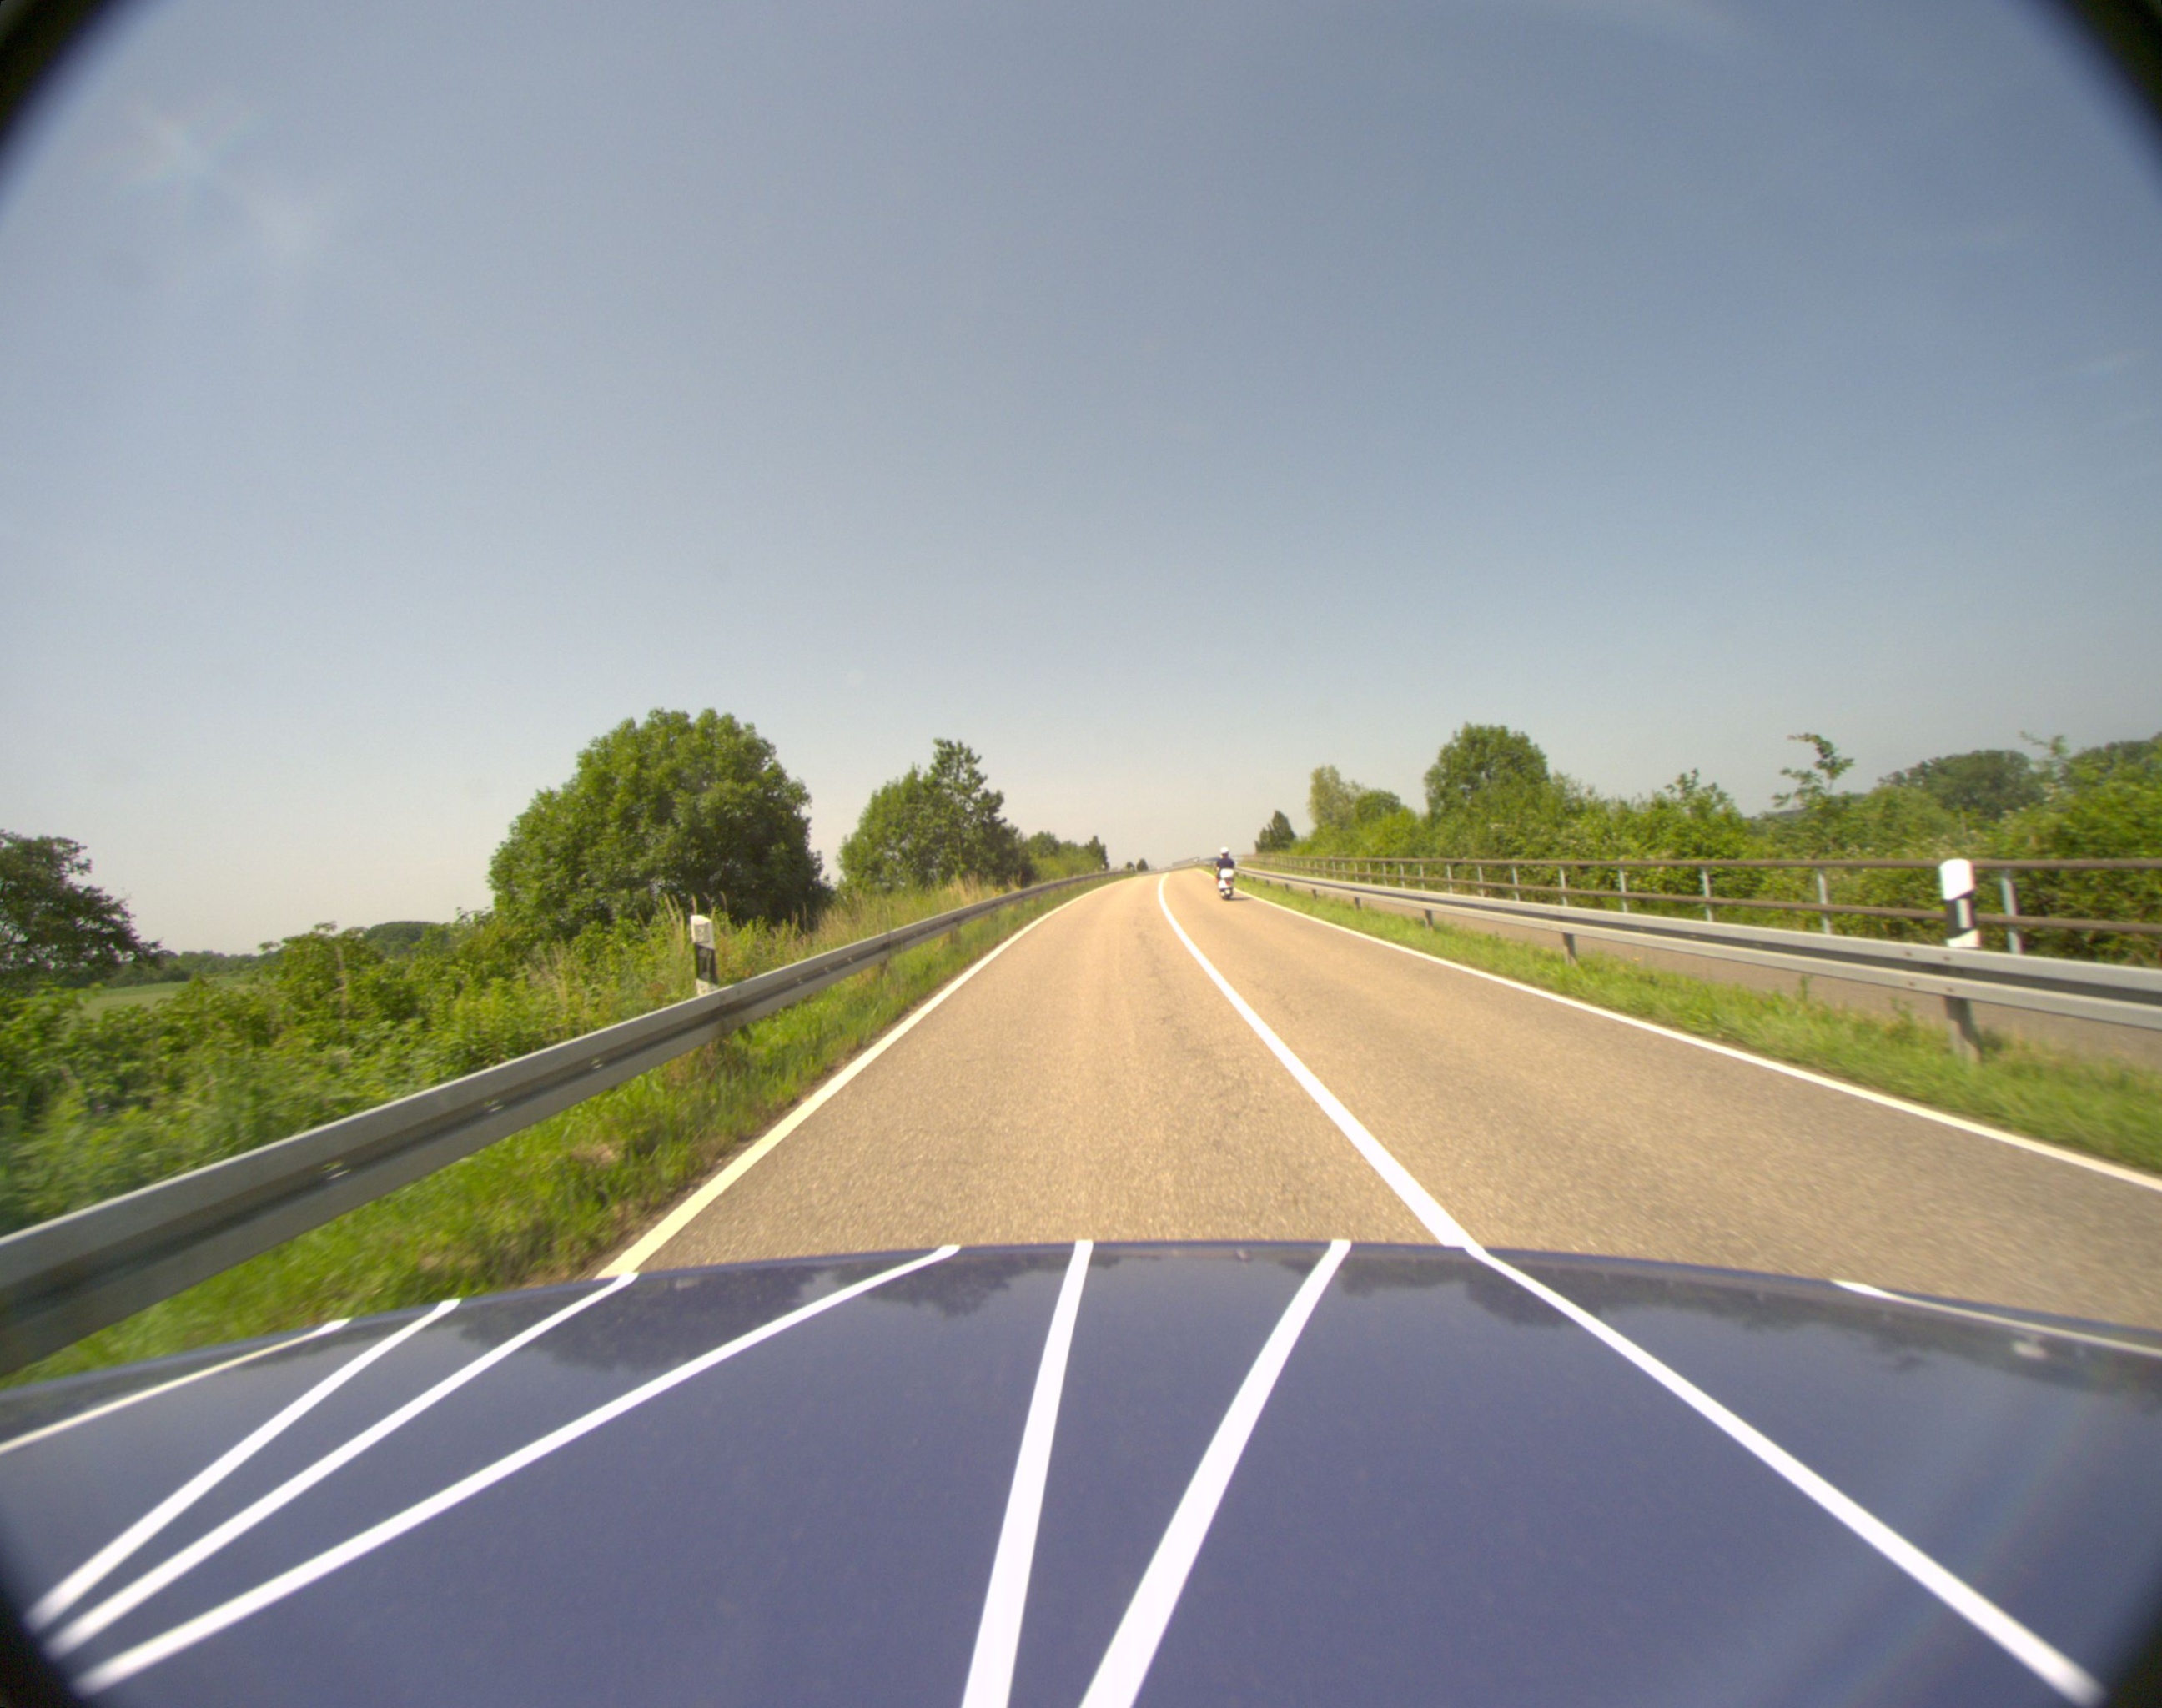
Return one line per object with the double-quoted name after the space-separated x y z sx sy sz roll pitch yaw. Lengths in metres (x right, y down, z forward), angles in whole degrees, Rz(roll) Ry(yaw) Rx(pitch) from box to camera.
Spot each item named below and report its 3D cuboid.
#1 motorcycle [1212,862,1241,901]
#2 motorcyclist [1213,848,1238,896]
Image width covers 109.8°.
4.787 0.874 25.113 0.644 1.216 1.638 -2 0 1 "motorcycle"
4.764 0.585 25.092 0.656 1.553 0.775 -2 1 1 "motorcyclist"
